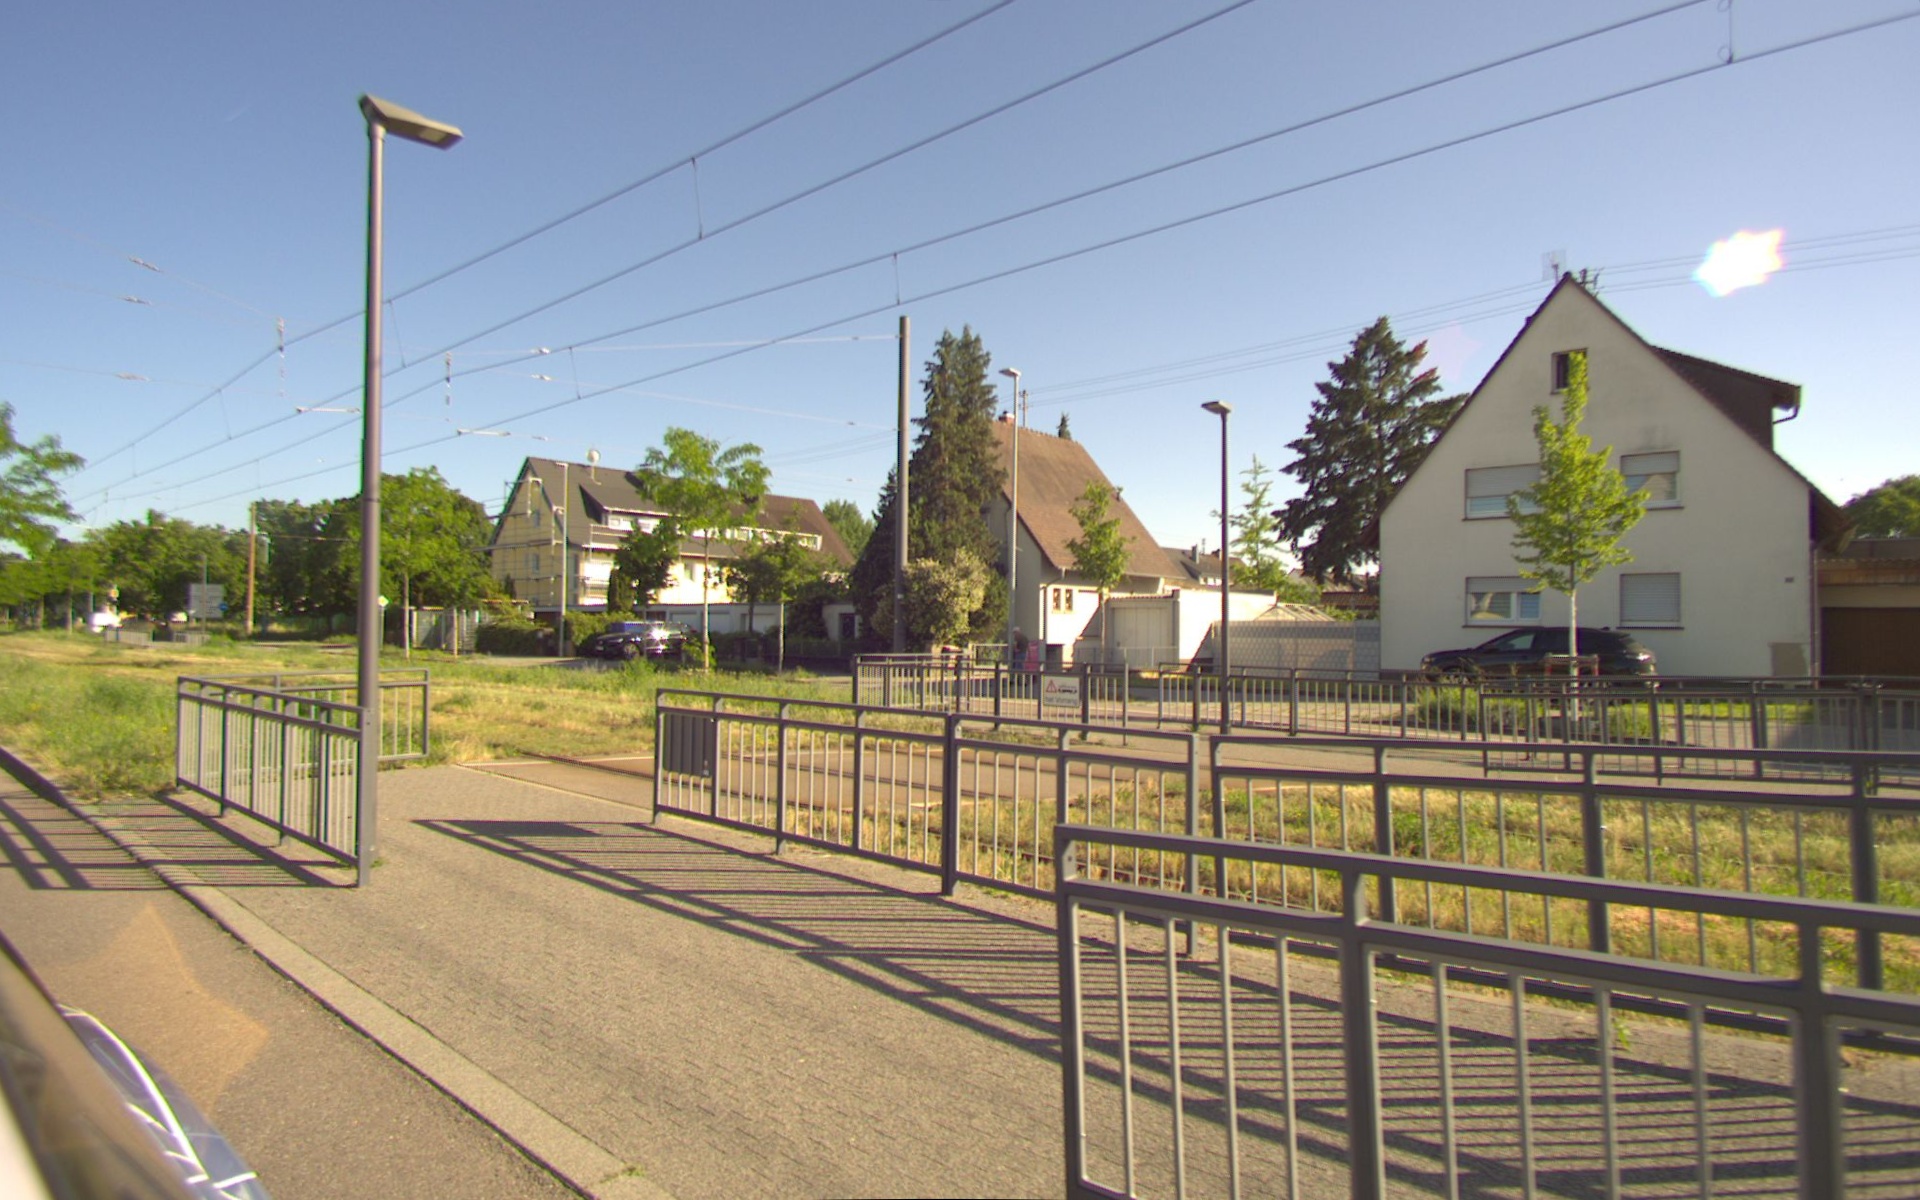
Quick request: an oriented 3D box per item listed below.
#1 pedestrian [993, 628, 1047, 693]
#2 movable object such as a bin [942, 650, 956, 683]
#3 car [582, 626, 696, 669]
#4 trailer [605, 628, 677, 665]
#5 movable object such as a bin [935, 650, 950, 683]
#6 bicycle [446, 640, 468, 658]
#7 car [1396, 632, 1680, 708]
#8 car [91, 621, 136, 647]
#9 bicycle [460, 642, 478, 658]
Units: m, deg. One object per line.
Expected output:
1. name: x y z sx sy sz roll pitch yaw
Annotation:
1. pedestrian: 1.581 1.568 26.696 1.085 1.653 0.955 -1 -2 41
2. movable object such as a bin: -0.338 2.034 31.004 0.333 0.973 0.295 0 -1 37
3. car: -13.852 2.045 43.906 2.044 1.748 4.509 -1 -2 29
4. trailer: -14.578 2.107 46.325 1.397 1.660 2.885 -1 -2 38
5. movable object such as a bin: -0.533 2.008 30.746 0.350 0.977 0.323 0 -1 37
6. bicycle: -26.999 2.628 54.350 1.748 0.949 0.419 0 0 41
7. car: 12.542 1.447 22.209 5.160 1.461 1.914 -1 -2 41
8. car: -64.185 2.592 76.738 4.699 1.929 1.877 -1 -3 41
9. bicycle: -26.609 2.716 54.869 1.508 0.827 0.307 0 0 41
